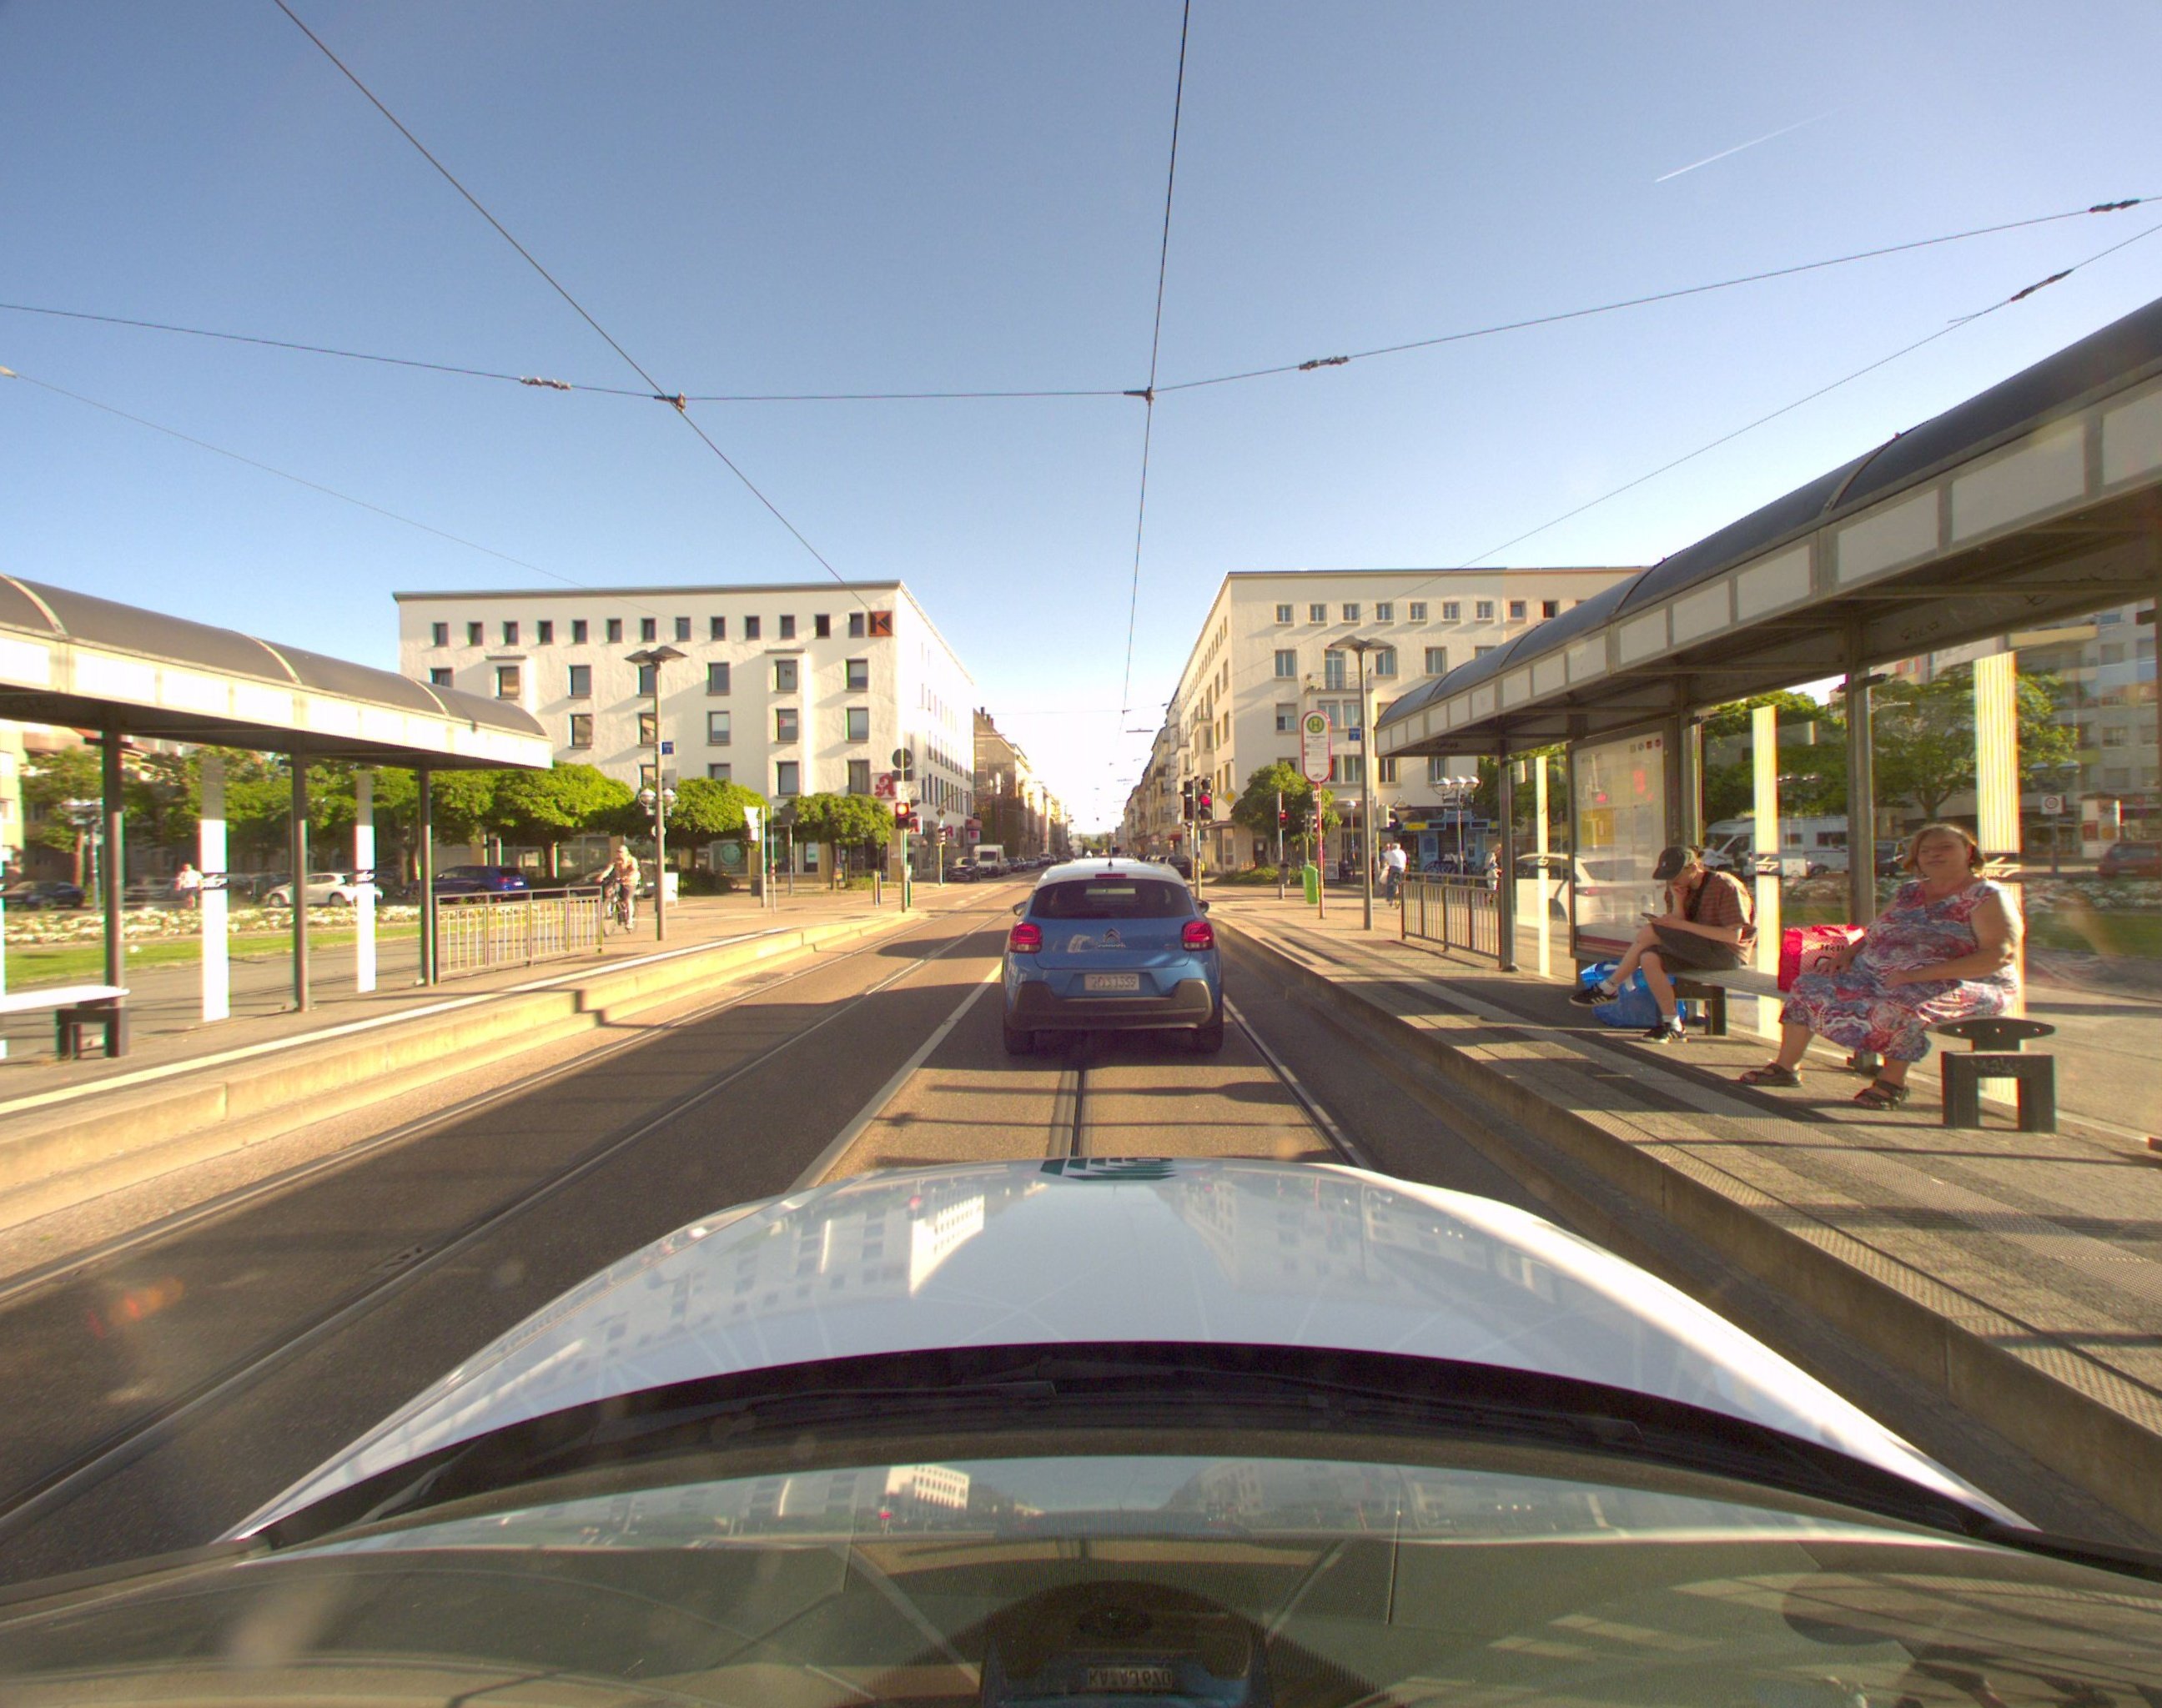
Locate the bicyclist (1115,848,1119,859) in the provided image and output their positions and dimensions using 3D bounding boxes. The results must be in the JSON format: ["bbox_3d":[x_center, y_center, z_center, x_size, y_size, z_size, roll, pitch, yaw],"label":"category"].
[{"bbox_3d":[6.652,0.002,149.897,0.806,2.014,0.923,0,-1,2],"label":"bicyclist"}]

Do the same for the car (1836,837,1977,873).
[{"bbox_3d":[36.626,0.052,36.249,3.959,1.511,2.007,0,-1,13],"label":"car"}]

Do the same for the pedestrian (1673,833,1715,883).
[{"bbox_3d":[20.961,0.130,27.851,0.897,1.685,0.696,-1,0,5],"label":"pedestrian"}]

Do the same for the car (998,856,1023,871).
[{"bbox_3d":[-6.761,0.884,78.457,1.987,1.398,4.157,0,-1,1],"label":"car"}]

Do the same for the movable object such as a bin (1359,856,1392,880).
[{"bbox_3d":[14.466,0.696,40.059,1.194,1.153,1.218,-1,0,2],"label":"movable object such as a bin"}]

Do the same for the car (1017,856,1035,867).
[{"bbox_3d":[-6.972,0.985,103.564,1.987,1.325,3.923,0,-1,1],"label":"car"}]

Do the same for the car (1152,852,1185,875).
[{"bbox_3d":[6.097,0.654,57.092,1.986,1.464,4.002,-1,0,2],"label":"car"}]

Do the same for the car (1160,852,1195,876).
[{"bbox_3d":[6.194,0.636,52.507,1.902,1.464,4.002,-1,0,2],"label":"car"}]

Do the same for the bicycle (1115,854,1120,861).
[{"bbox_3d":[6.720,0.618,149.909,0.916,1.389,3.133,-1,0,2],"label":"bicycle"}]

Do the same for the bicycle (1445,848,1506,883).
[{"bbox_3d":[17.715,0.509,36.588,2.376,1.531,0.726,1,0,0],"label":"bicycle"}]

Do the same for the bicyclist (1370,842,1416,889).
[{"bbox_3d":[8.274,0.301,21.634,0.945,1.225,0.935,0,0,7],"label":"bicyclist"}]

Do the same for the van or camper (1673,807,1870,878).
[{"bbox_3d":[30.117,-0.480,35.719,6.375,2.839,2.381,-1,0,5],"label":"van or camper"}]

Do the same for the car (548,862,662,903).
[{"bbox_3d":[-21.249,1.269,36.442,3.973,1.706,1.826,-1,0,1],"label":"car"}]

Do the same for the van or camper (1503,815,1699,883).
[{"bbox_3d":[22.854,-0.238,36.044,7.093,2.747,2.372,-1,1,2],"label":"van or camper"}]

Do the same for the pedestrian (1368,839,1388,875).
[{"bbox_3d":[15.394,0.147,42.247,0.781,1.839,0.679,-1,0,5],"label":"pedestrian"}]

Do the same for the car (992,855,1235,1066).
[{"bbox_3d":[0.285,0.760,7.691,1.721,1.482,3.828,0,0,2],"label":"car"}]

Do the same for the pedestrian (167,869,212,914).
[{"bbox_3d":[-36.733,1.522,33.551,0.938,1.817,0.872,-1,0,13],"label":"pedestrian"}]

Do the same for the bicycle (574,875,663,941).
[{"bbox_3d":[-8.753,0.982,15.498,0.727,1.113,1.972,-1,0,-6],"label":"bicycle"}]

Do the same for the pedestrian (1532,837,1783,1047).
[{"bbox_3d":[3.714,0.531,5.348,0.995,1.225,0.923,2,-1,1],"label":"pedestrian"}]

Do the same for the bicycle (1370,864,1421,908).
[{"bbox_3d":[8.274,0.816,21.497,0.714,1.061,2.328,0,0,7],"label":"bicycle"}]

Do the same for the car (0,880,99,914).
[{"bbox_3d":[-52.300,2.124,41.093,1.925,1.494,4.314,0,-1,-27],"label":"car"}]

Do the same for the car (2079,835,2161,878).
[{"bbox_3d":[38.616,0.049,29.065,3.983,1.486,1.995,-1,0,-7],"label":"car"}]

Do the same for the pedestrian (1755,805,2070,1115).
[{"bbox_3d":[3.920,0.468,3.897,0.855,1.334,0.623,2,-1,1],"label":"pedestrian"}]

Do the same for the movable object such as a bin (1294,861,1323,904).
[{"bbox_3d":[4.351,0.542,15.598,0.447,0.786,0.489,-1,0,4],"label":"movable object such as a bin"}]

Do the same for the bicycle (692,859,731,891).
[{"bbox_3d":[-19.835,1.104,43.759,0.614,1.607,2.625,-1,0,6],"label":"bicycle"}]

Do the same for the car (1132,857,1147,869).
[{"bbox_3d":[7.840,1.154,109.628,1.985,1.552,4.004,-1,0,4],"label":"car"}]

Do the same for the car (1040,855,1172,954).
[{"bbox_3d":[0.445,0.756,14.590,1.977,1.464,4.817,0,0,2],"label":"car"}]

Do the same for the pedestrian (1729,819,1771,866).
[{"bbox_3d":[23.000,-0.377,28.007,0.897,1.585,0.663,-1,0,5],"label":"pedestrian"}]

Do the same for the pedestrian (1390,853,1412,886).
[{"bbox_3d":[14.461,0.692,36.858,0.727,1.409,0.755,-1,3,2],"label":"pedestrian"}]

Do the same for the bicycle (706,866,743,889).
[{"bbox_3d":[-19.112,1.243,43.717,0.615,1.190,2.624,-1,0,5],"label":"bicycle"}]

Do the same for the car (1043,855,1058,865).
[{"bbox_3d":[-5.112,0.983,136.988,1.946,1.552,3.942,0,-1,4],"label":"car"}]

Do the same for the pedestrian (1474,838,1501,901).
[{"bbox_3d":[11.350,0.432,22.731,0.554,1.745,0.528,0,-1,12],"label":"pedestrian"}]

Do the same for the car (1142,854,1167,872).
[{"bbox_3d":[6.558,0.777,72.987,1.986,1.464,4.002,-1,0,2],"label":"car"}]

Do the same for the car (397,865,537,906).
[{"bbox_3d":[-27.189,1.376,36.183,4.591,1.662,1.999,-1,0,-1],"label":"car"}]

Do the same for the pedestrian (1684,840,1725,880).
[{"bbox_3d":[20.770,0.197,27.145,0.896,1.279,0.606,-1,0,7],"label":"pedestrian"}]

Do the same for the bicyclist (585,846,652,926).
[{"bbox_3d":[-8.745,0.588,15.436,0.827,1.455,0.875,0,-1,-8],"label":"bicyclist"}]

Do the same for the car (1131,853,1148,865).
[{"bbox_3d":[7.326,0.608,102.082,1.986,1.464,4.507,-1,0,2],"label":"car"}]

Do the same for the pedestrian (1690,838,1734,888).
[{"bbox_3d":[20.557,0.280,26.535,0.897,1.585,0.663,-1,0,5],"label":"pedestrian"}]

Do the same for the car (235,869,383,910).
[{"bbox_3d":[-33.518,1.516,35.459,4.591,1.606,1.855,-1,0,-1],"label":"car"}]

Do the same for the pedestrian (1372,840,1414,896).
[{"bbox_3d":[10.857,0.491,28.403,0.978,1.878,1.128,-1,-1,-1],"label":"pedestrian"}]

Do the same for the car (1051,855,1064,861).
[{"bbox_3d":[-4.455,0.787,154.475,1.986,1.156,4.002,-1,0,2],"label":"car"}]

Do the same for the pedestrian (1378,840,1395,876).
[{"bbox_3d":[15.684,0.213,41.840,0.650,1.839,0.660,-1,0,5],"label":"pedestrian"}]

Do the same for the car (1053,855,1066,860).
[{"bbox_3d":[-4.865,0.750,185.219,1.981,1.156,4.528,-1,0,11],"label":"car"}]

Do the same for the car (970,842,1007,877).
[{"bbox_3d":[-7.127,0.400,63.127,2.078,2.542,6.206,0,0,1],"label":"car"}]

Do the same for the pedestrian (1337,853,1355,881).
[{"bbox_3d":[12.661,0.610,38.935,0.733,1.316,0.631,-1,0,25],"label":"pedestrian"}]

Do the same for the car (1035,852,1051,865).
[{"bbox_3d":[-5.879,0.694,127.173,1.997,2.014,4.694,0,-1,4],"label":"car"}]

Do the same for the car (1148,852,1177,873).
[{"bbox_3d":[6.279,0.645,62.958,1.986,1.501,4.002,-1,0,2],"label":"car"}]

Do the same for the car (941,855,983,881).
[{"bbox_3d":[-7.659,0.911,52.768,1.987,1.569,4.403,2,-1,1],"label":"car"}]

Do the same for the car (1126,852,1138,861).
[{"bbox_3d":[8.323,0.424,133.243,1.986,1.464,4.002,-1,0,2],"label":"car"}]

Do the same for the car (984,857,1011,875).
[{"bbox_3d":[-7.154,0.981,69.849,1.881,1.496,3.562,0,-1,1],"label":"car"}]

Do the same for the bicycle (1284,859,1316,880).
[{"bbox_3d":[11.421,0.813,42.499,1.556,1.120,0.301,0,-1,12],"label":"bicycle"}]

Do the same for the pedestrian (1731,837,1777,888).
[{"bbox_3d":[21.708,0.272,26.270,0.897,1.585,0.663,-1,0,5],"label":"pedestrian"}]

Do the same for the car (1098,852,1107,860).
[{"bbox_3d":[4.953,0.489,188.961,1.986,1.772,4.002,-1,0,2],"label":"car"}]
